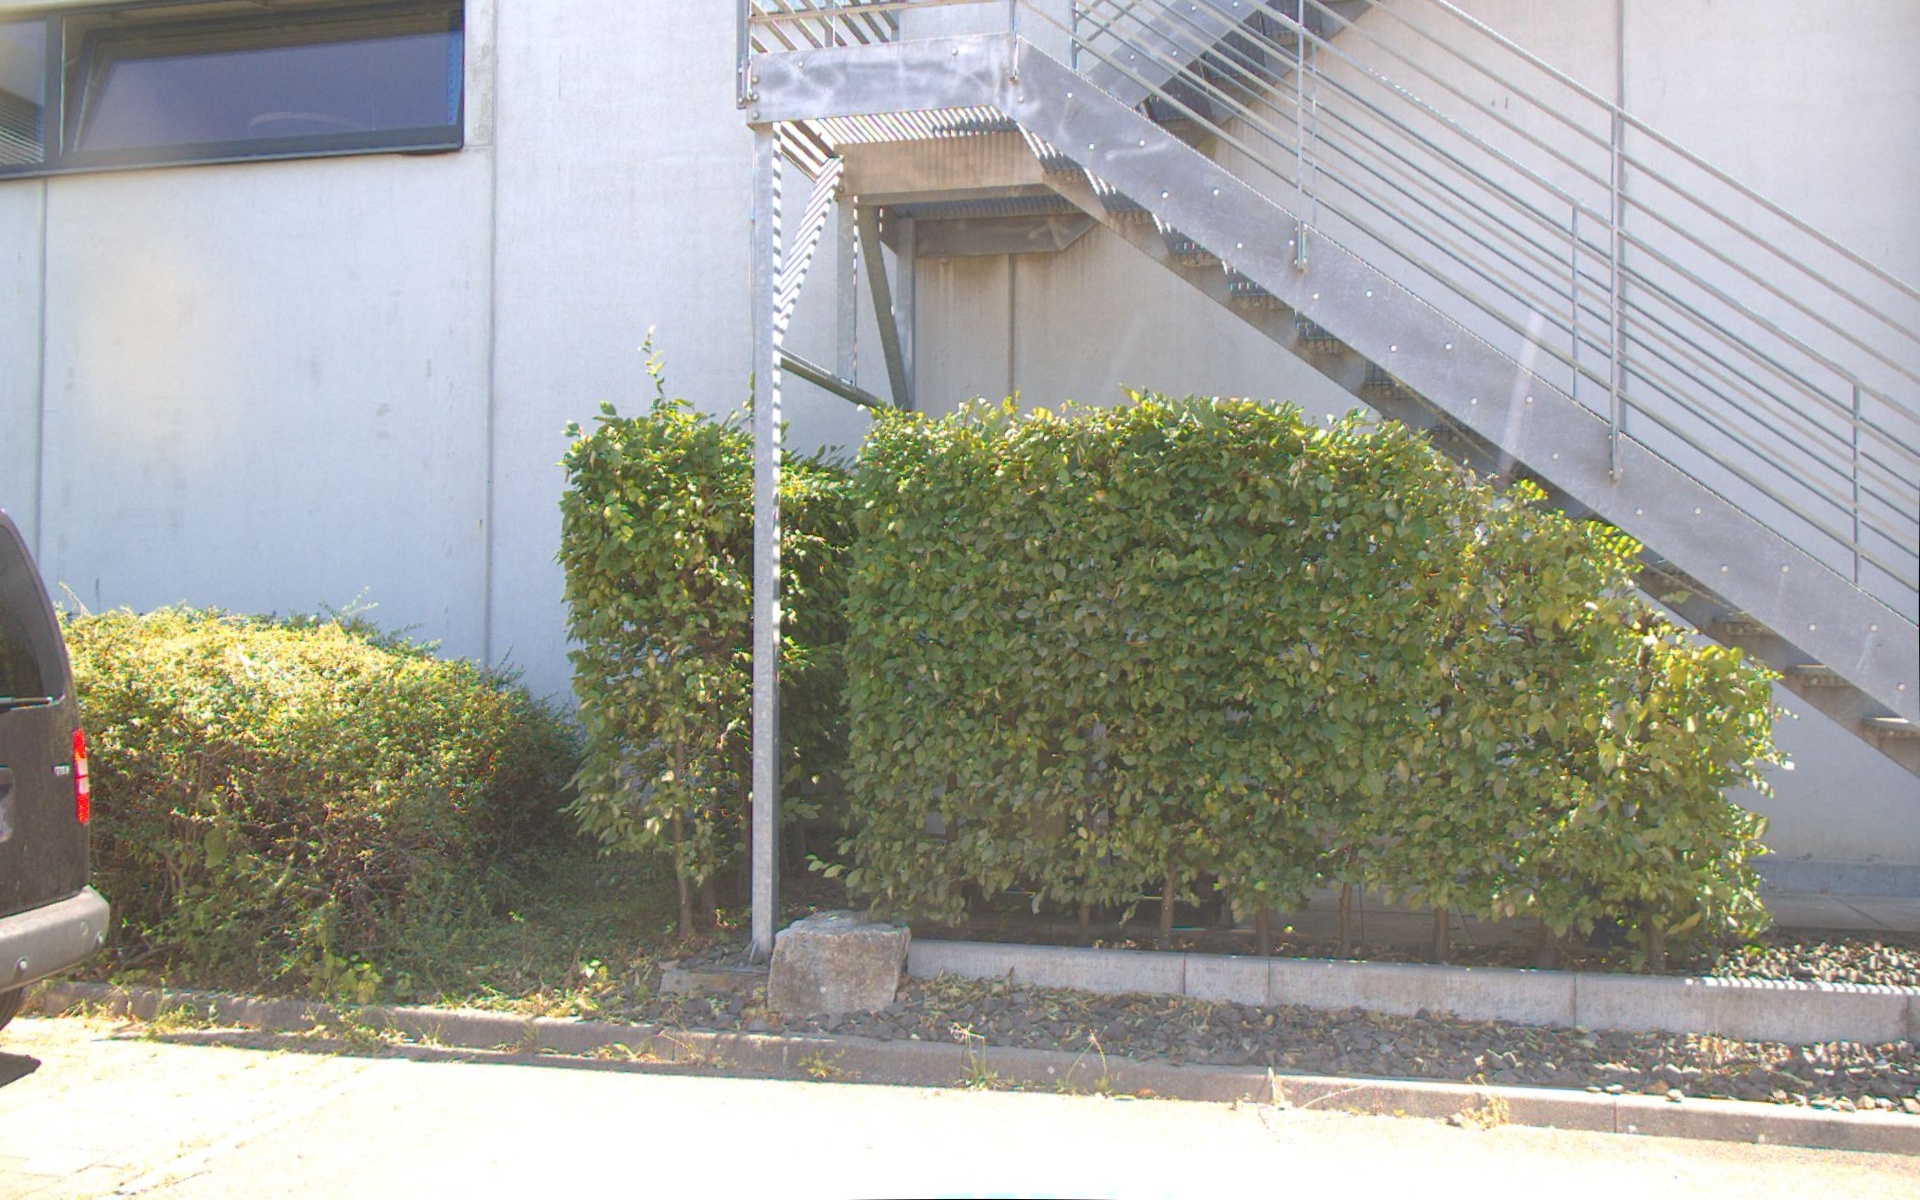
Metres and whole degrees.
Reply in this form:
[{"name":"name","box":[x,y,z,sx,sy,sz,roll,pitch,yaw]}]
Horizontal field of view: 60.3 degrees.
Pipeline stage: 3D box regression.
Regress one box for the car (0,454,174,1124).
[{"name":"car","box":[-4.708,0.541,5.069,3.971,1.917,1.680,0,-1,14]}]
